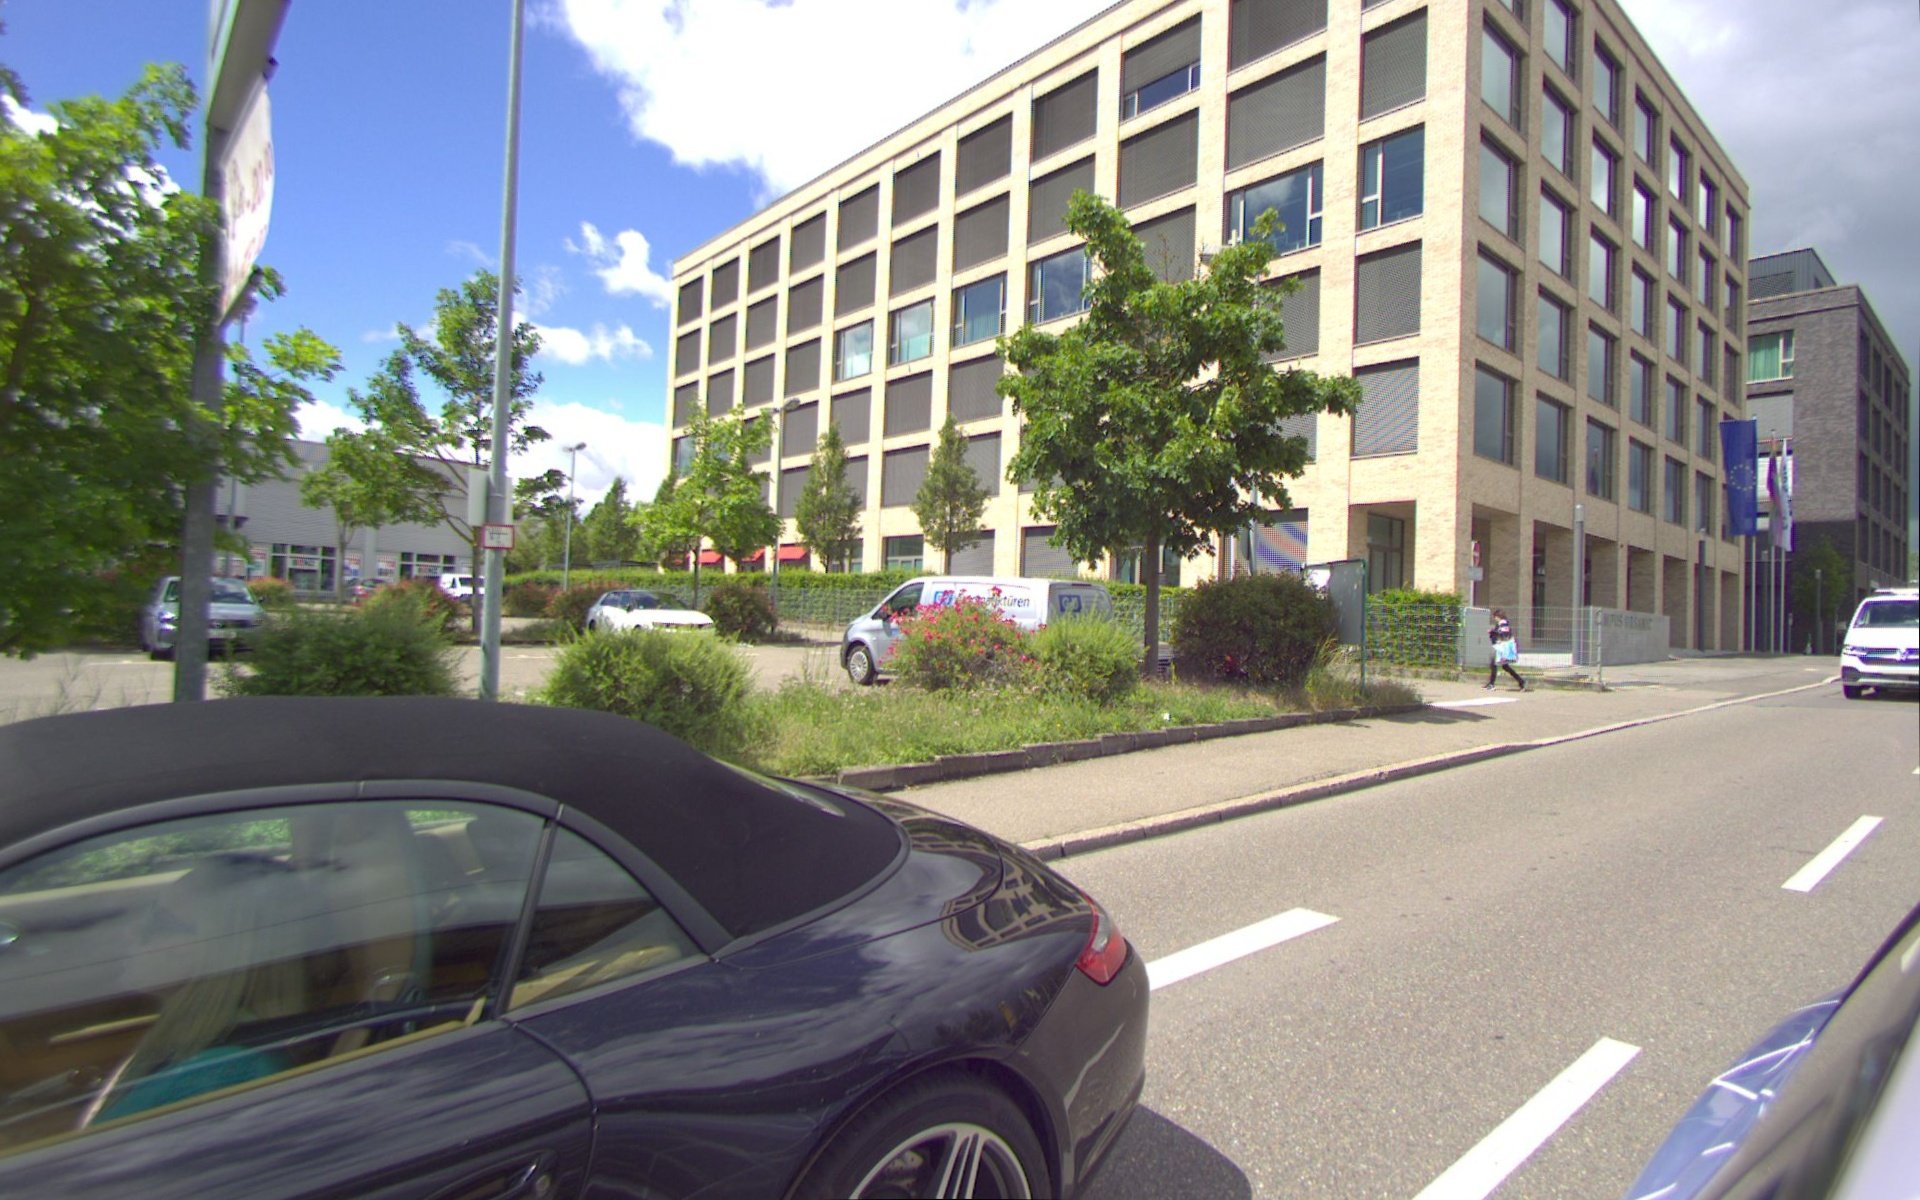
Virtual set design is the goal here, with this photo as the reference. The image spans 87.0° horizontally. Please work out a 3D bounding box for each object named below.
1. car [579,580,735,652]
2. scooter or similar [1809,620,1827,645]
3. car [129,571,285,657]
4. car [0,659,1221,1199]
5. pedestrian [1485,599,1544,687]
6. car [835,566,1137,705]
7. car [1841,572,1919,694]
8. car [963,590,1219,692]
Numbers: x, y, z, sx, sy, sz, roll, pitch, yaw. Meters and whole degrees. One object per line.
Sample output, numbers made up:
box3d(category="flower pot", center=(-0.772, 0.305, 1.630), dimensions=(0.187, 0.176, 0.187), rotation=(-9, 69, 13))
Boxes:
box3d(category="car", center=(-7.470, 0.343, 24.688), dimensions=(1.856, 1.510, 4.438), rotation=(2, 0, -43))
box3d(category="scooter or similar", center=(40.687, 1.551, 48.002), dimensions=(1.379, 1.167, 0.428), rotation=(2, -1, -41))
box3d(category="car", center=(-13.864, 0.202, 18.549), dimensions=(1.856, 1.386, 3.875), rotation=(2, 0, -43))
box3d(category="car", center=(-1.637, 0.842, 1.543), dimensions=(4.133, 1.394, 1.934), rotation=(4, -2, -41))
box3d(category="pedestrian", center=(10.263, 0.784, 18.739), dimensions=(0.841, 1.555, 0.688), rotation=(2, -1, -41))
box3d(category="car", center=(0.296, 0.442, 16.420), dimensions=(4.707, 1.871, 2.057), rotation=(3, 2, 43))
box3d(category="car", center=(18.293, 0.596, 18.928), dimensions=(4.130, 2.116, 1.936), rotation=(1, 1, -38))
box3d(category="car", center=(2.249, 0.634, 18.410), dimensions=(1.965, 1.500, 4.441), rotation=(0, 2, -41))
